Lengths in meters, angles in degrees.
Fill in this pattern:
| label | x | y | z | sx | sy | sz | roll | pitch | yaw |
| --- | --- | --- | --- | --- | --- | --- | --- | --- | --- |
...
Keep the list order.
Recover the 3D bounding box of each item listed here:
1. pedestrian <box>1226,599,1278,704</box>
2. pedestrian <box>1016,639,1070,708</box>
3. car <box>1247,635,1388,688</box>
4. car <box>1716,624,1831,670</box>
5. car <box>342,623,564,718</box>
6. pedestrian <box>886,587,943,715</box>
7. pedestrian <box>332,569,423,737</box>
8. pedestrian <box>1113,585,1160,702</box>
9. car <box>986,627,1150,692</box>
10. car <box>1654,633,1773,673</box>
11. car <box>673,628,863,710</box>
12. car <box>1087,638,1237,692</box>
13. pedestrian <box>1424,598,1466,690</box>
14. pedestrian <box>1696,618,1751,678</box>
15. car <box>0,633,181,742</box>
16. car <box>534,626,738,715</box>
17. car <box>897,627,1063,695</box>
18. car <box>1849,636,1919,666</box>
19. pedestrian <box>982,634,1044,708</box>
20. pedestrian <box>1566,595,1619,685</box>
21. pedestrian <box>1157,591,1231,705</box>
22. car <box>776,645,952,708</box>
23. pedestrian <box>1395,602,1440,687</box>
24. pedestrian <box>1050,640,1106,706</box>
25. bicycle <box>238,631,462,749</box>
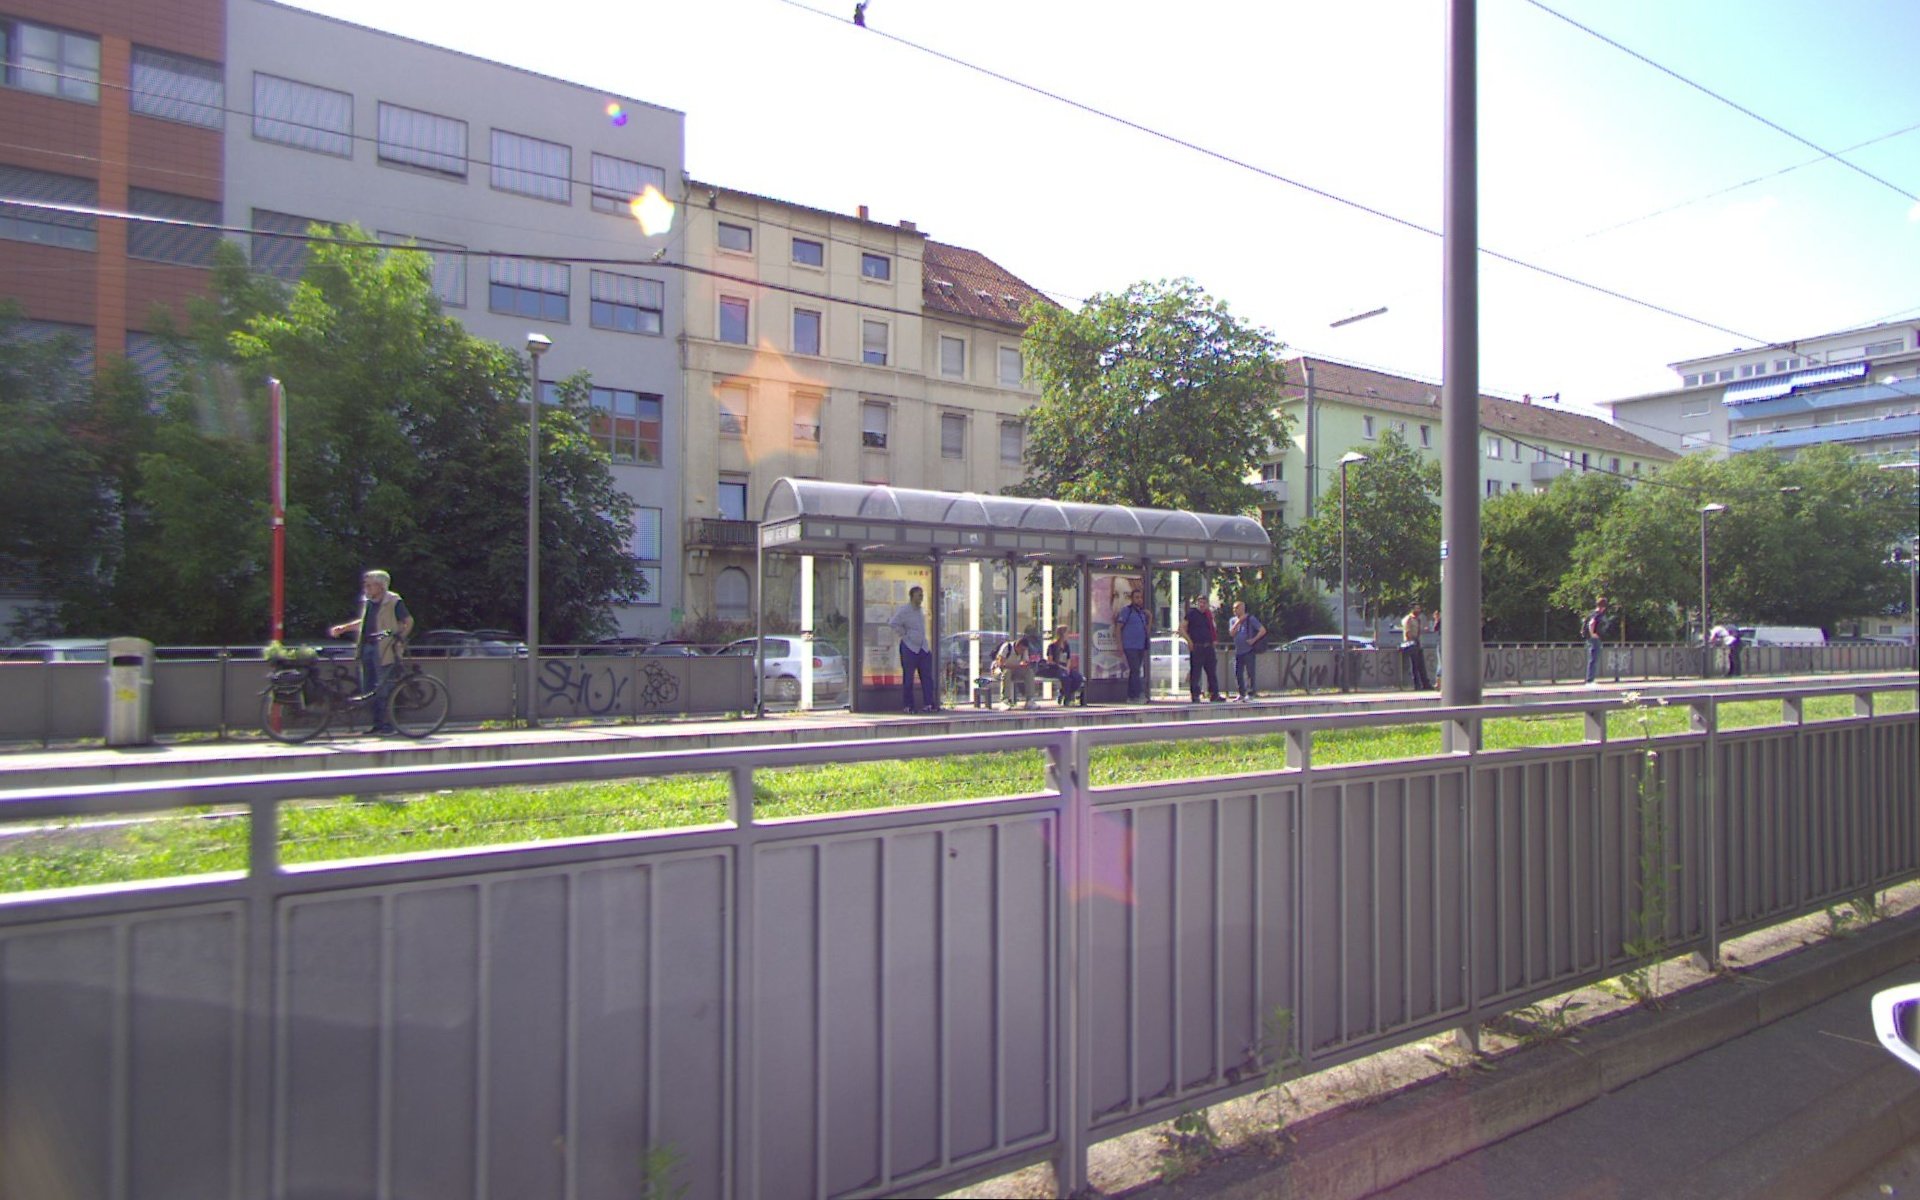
| label | x | y | z | sx | sy | sz | roll | pitch | yaw |
| --- | --- | --- | --- | --- | --- | --- | --- | --- | --- |
| pedestrian | 4.704 | 0.825 | 16.194 | 0.555 | 1.654 | 0.590 | 1 | -2 | -44 |
| pedestrian | 1.279 | 1.131 | 15.527 | 0.556 | 1.044 | 0.650 | 2 | -3 | -33 |
| car | 11.251 | 1.912 | 31.739 | 4.071 | 1.585 | 1.927 | -1 | -3 | 20 |
| car | 38.525 | 2.208 | 47.705 | 3.880 | 2.097 | 2.047 | -1 | -2 | 29 |
| car | -9.737 | 1.319 | 19.300 | 3.924 | 1.661 | 1.672 | -1 | -3 | 24 |
| pedestrian | -0.631 | 0.703 | 14.064 | 0.617 | 1.748 | 0.483 | 2 | -1 | -33 |
| pedestrian | -6.362 | 0.571 | 10.971 | 0.790 | 1.747 | 0.634 | 2 | -2 | -33 |
| pedestrian | 2.875 | 0.708 | 16.328 | 0.617 | 1.851 | 0.440 | 2 | -2 | -33 |
| car | 2.923 | 1.569 | 27.058 | 4.055 | 1.661 | 1.835 | 0 | -3 | 21 |
| car | 33.602 | 2.345 | 44.940 | 3.923 | 1.662 | 1.826 | -1 | 0 | 23 |
| car | -4.332 | 1.492 | 22.611 | 3.923 | 1.549 | 1.671 | 1 | 0 | 24 |
| car | 5.753 | 1.802 | 28.522 | 3.944 | 1.410 | 1.816 | 0 | -1 | 20 |
| pedestrian | 9.543 | 0.866 | 19.773 | 0.612 | 1.777 | 0.609 | 1 | -2 | 10 |
| pedestrian | 20.790 | 1.304 | 27.352 | 0.790 | 1.599 | 0.983 | 2 | -2 | -33 |
| car | -14.122 | 1.311 | 16.007 | 3.253 | 1.439 | 1.582 | 2 | 0 | 30 |
| car | -6.744 | 1.400 | 20.906 | 3.924 | 1.549 | 1.671 | 1 | 0 | 24 |
| car | 0.487 | 1.503 | 25.556 | 3.926 | 1.589 | 1.608 | 0 | -1 | 27 |
| car | 52.542 | 2.845 | 56.410 | 3.601 | 1.600 | 1.646 | -1 | -2 | 29 |
| pedestrian | 0.772 | 1.039 | 14.754 | 0.617 | 1.044 | 0.715 | 2 | -3 | -33 |
| pedestrian | 13.755 | 0.866 | 21.855 | 0.631 | 1.916 | 0.747 | 3 | -2 | -28 |
| pedestrian | 3.776 | 0.773 | 16.210 | 1.025 | 1.765 | 0.628 | 2 | -2 | -33 |
| car | -2.348 | 1.802 | 24.340 | 3.929 | 1.165 | 1.789 | 2 | 0 | 31 |
| pedestrian | 9.321 | 0.910 | 20.472 | 0.618 | 1.696 | 0.604 | 2 | -2 | -30 |
| pedestrian | 1.858 | 1.142 | 15.840 | 0.556 | 1.008 | 0.700 | 2 | -3 | -33 |
| bicycle | -6.183 | 0.895 | 10.311 | 1.850 | 1.128 | 0.660 | 1 | -3 | -22 |
